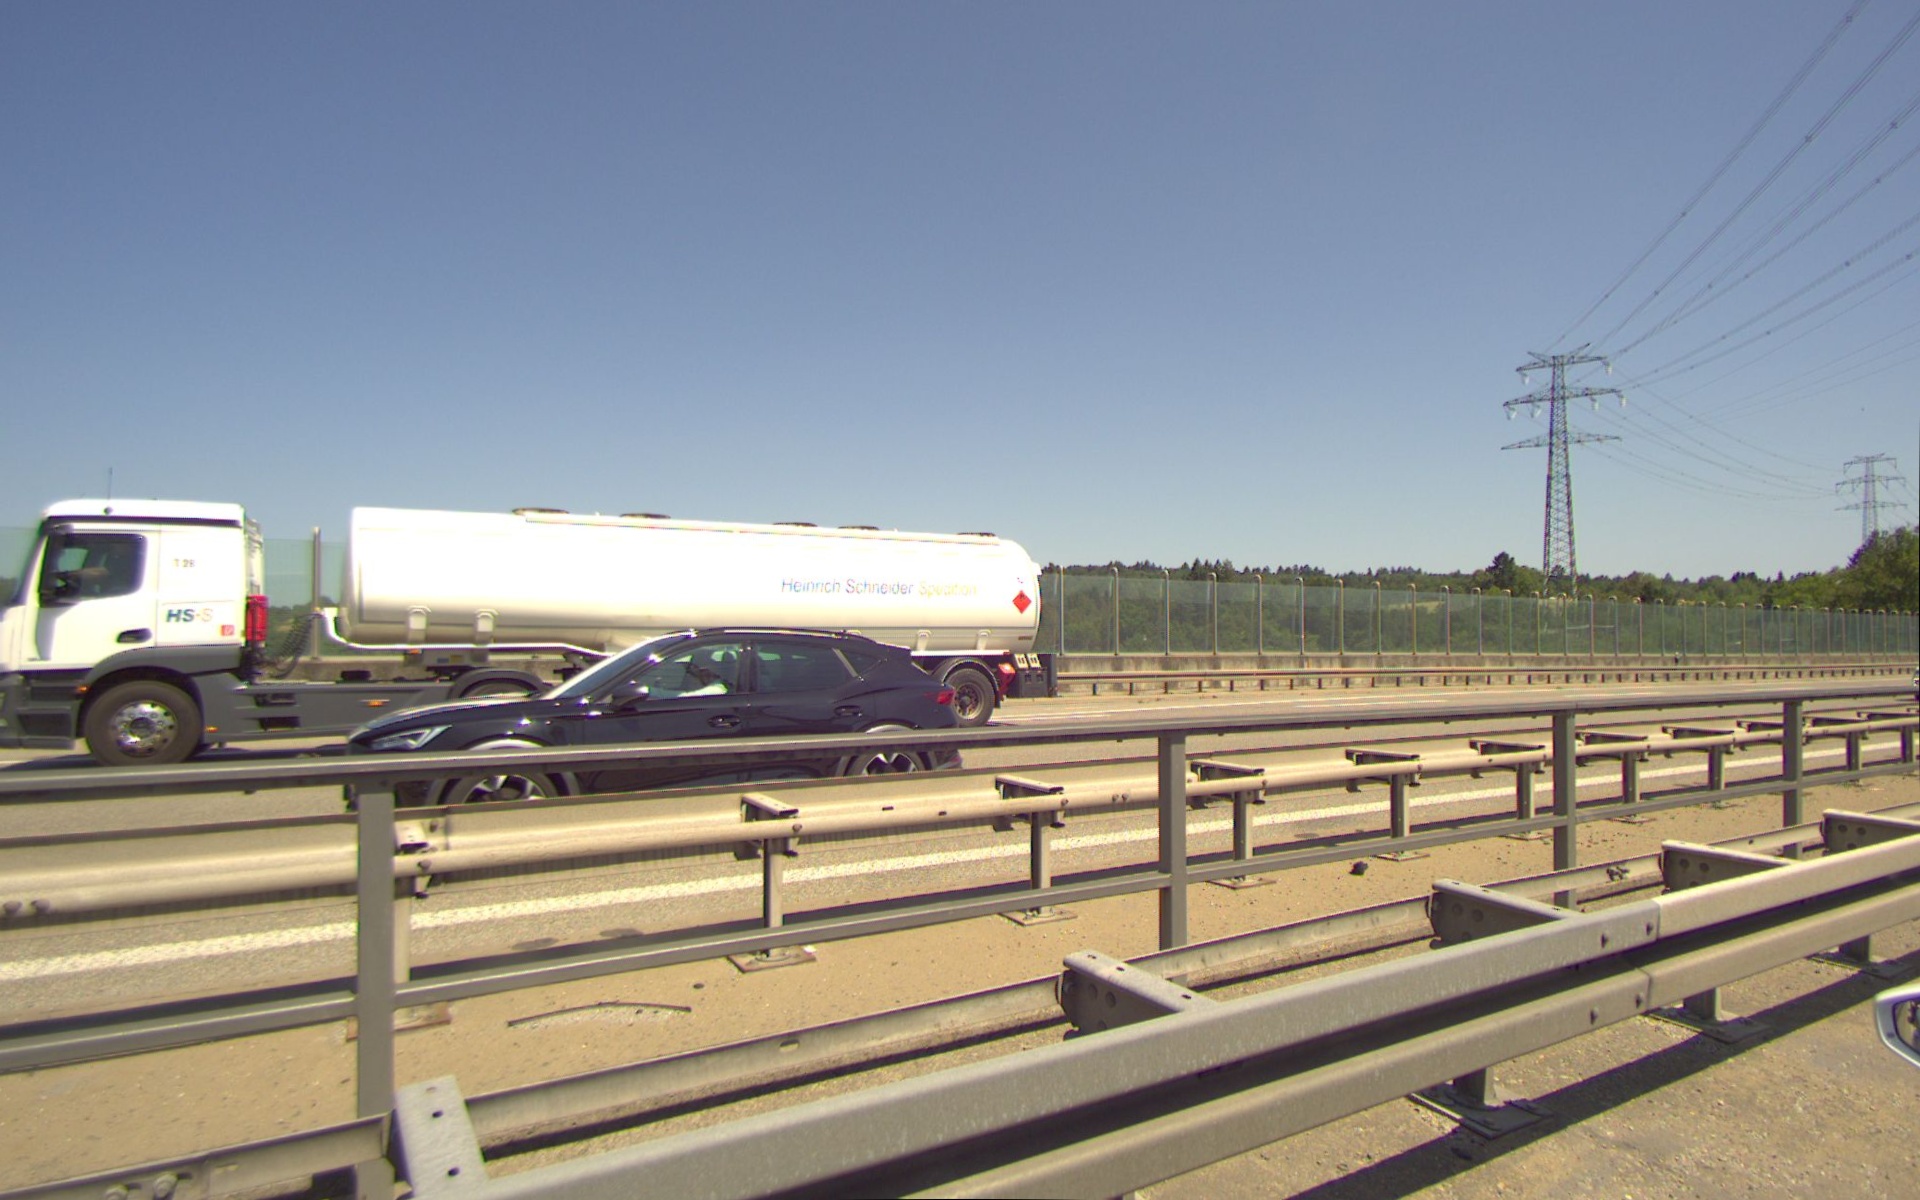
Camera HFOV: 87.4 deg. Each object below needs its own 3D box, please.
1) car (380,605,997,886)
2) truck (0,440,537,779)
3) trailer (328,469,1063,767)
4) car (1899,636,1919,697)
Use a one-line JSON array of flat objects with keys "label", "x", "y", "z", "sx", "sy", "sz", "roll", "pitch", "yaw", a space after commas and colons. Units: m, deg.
[{"label": "car", "x": -1.969, "y": 0.903, "z": 7.612, "sx": 4.143, "sy": 1.572, "sz": 1.872, "roll": 2, "pitch": 0, "yaw": -32}, {"label": "truck", "x": -8.499, "y": 0.226, "z": 12.994, "sx": 5.266, "sy": 3.581, "sz": 2.510, "roll": 2, "pitch": -3, "yaw": -30}, {"label": "trailer", "x": -3.491, "y": 0.438, "z": 15.879, "sx": 10.774, "sy": 3.586, "sz": 2.487, "roll": 2, "pitch": -3, "yaw": -30}, {"label": "car", "x": 28.196, "y": 1.872, "z": 28.098, "sx": 3.955, "sy": 1.661, "sz": 1.797, "roll": 2, "pitch": -4, "yaw": -31}]
